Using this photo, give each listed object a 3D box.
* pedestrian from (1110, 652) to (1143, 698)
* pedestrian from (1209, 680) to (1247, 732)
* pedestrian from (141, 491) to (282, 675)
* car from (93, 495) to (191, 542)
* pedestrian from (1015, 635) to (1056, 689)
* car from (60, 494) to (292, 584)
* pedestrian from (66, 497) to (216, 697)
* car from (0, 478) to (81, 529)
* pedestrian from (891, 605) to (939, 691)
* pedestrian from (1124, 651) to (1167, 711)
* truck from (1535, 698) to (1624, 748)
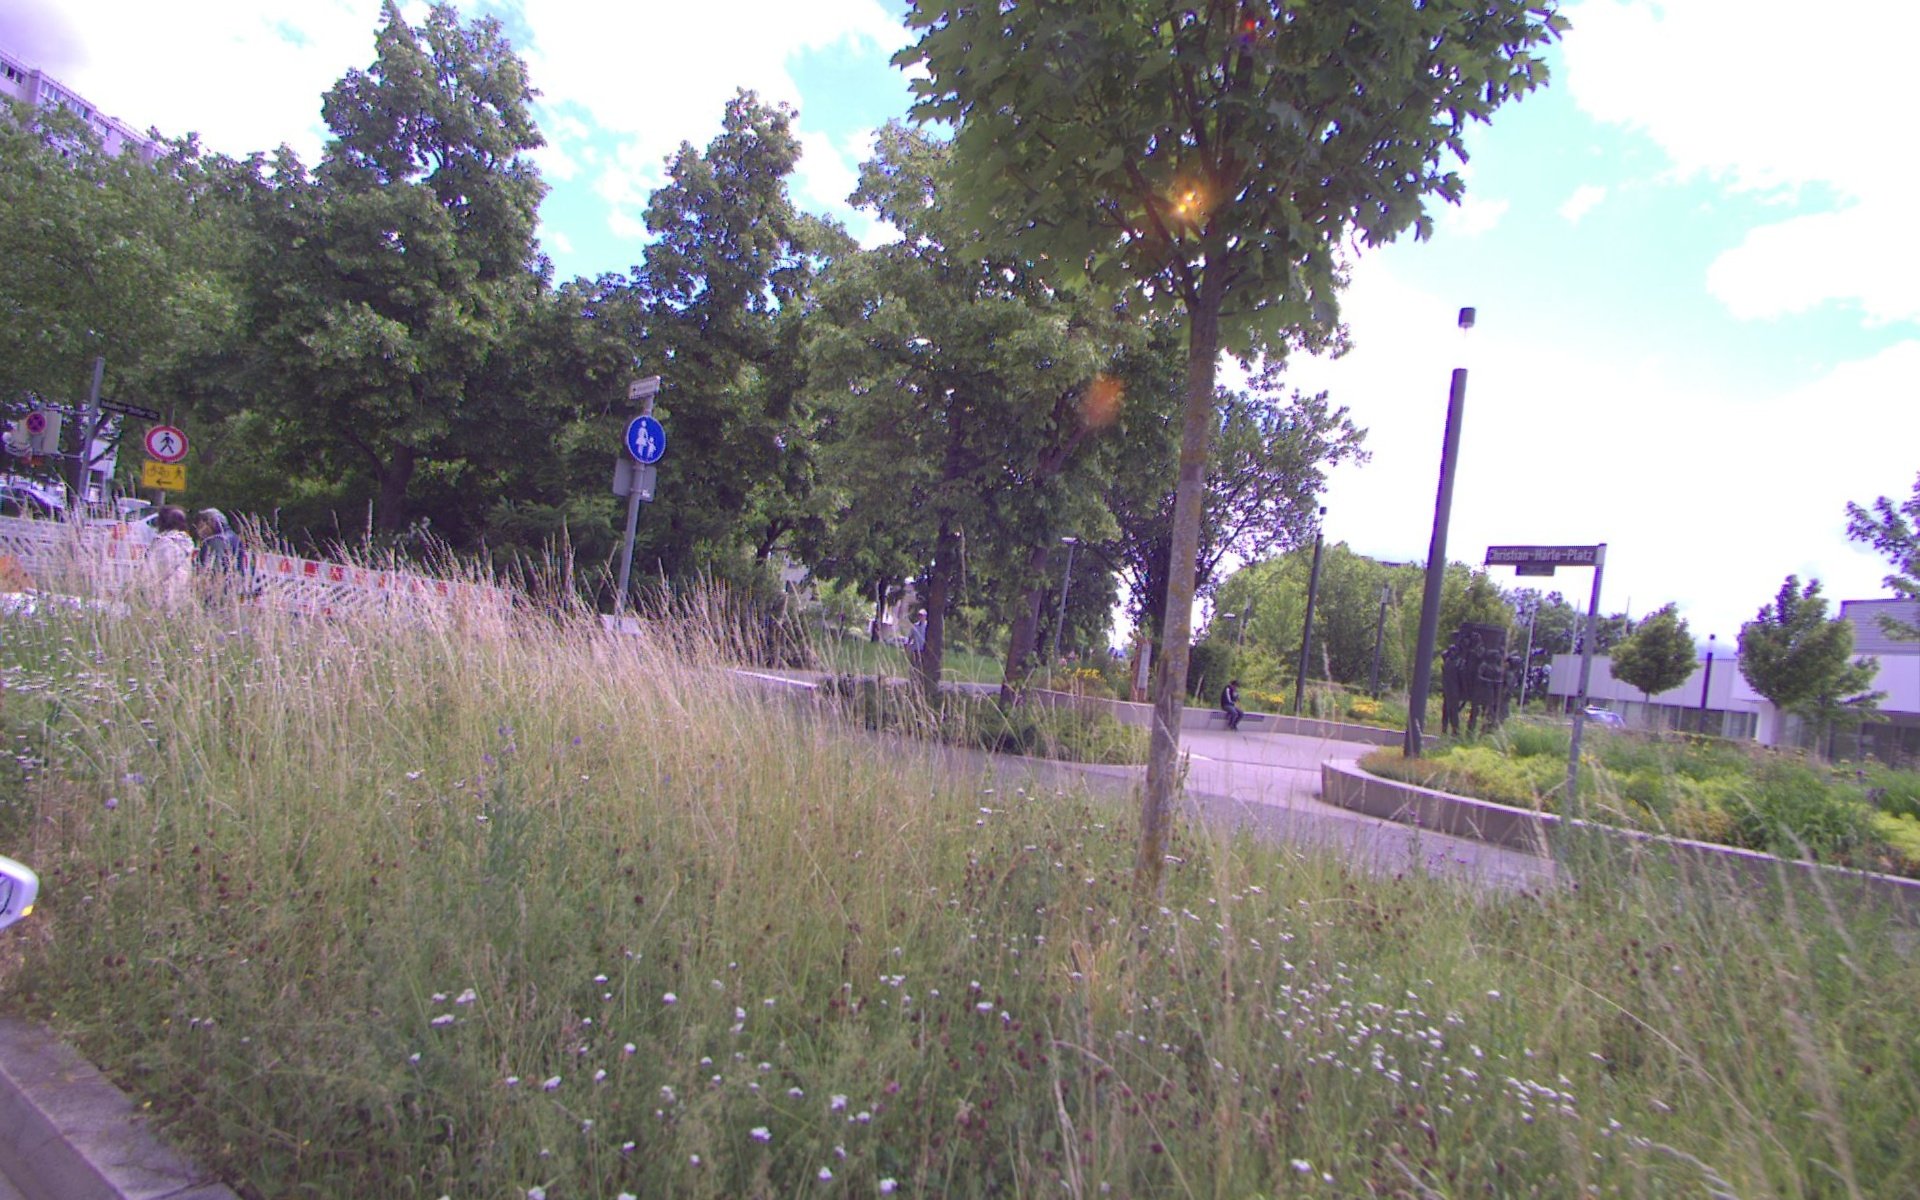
[{"bbox_3d":[6.716,3.018,40.481,0.873,1.681,0.816,7,0,30],"label":"pedestrian"},{"bbox_3d":[6.847,2.704,25.658,0.623,1.236,0.618,7,-1,36],"label":"pedestrian"},{"bbox_3d":[-7.411,-0.160,10.011,0.862,1.654,0.760,8,0,-29],"label":"pedestrian"},{"bbox_3d":[-48.213,-4.759,59.340,3.926,2.037,2.001,8,-1,0],"label":"car"},{"bbox_3d":[2.488,2.039,32.969,0.879,1.647,0.816,7,-1,30],"label":"pedestrian"},{"bbox_3d":[-23.667,-1.775,30.627,1.915,1.895,5.089,7,-2,28],"label":"car"},{"bbox_3d":[-7.390,-0.022,9.129,0.817,1.659,0.727,8,0,-34],"label":"pedestrian"},{"bbox_3d":[-47.680,-5.010,51.220,3.926,2.037,2.001,8,-1,0],"label":"car"},{"bbox_3d":[-1.025,1.110,23.192,0.757,1.862,0.765,7,-1,10],"label":"pedestrian"},{"bbox_3d":[6.850,3.003,37.129,1.137,2.037,0.816,7,0,30],"label":"pedestrian"},{"bbox_3d":[33.414,6.589,54.416,1.964,2.037,3.999,8,-1,-4],"label":"truck"}]
